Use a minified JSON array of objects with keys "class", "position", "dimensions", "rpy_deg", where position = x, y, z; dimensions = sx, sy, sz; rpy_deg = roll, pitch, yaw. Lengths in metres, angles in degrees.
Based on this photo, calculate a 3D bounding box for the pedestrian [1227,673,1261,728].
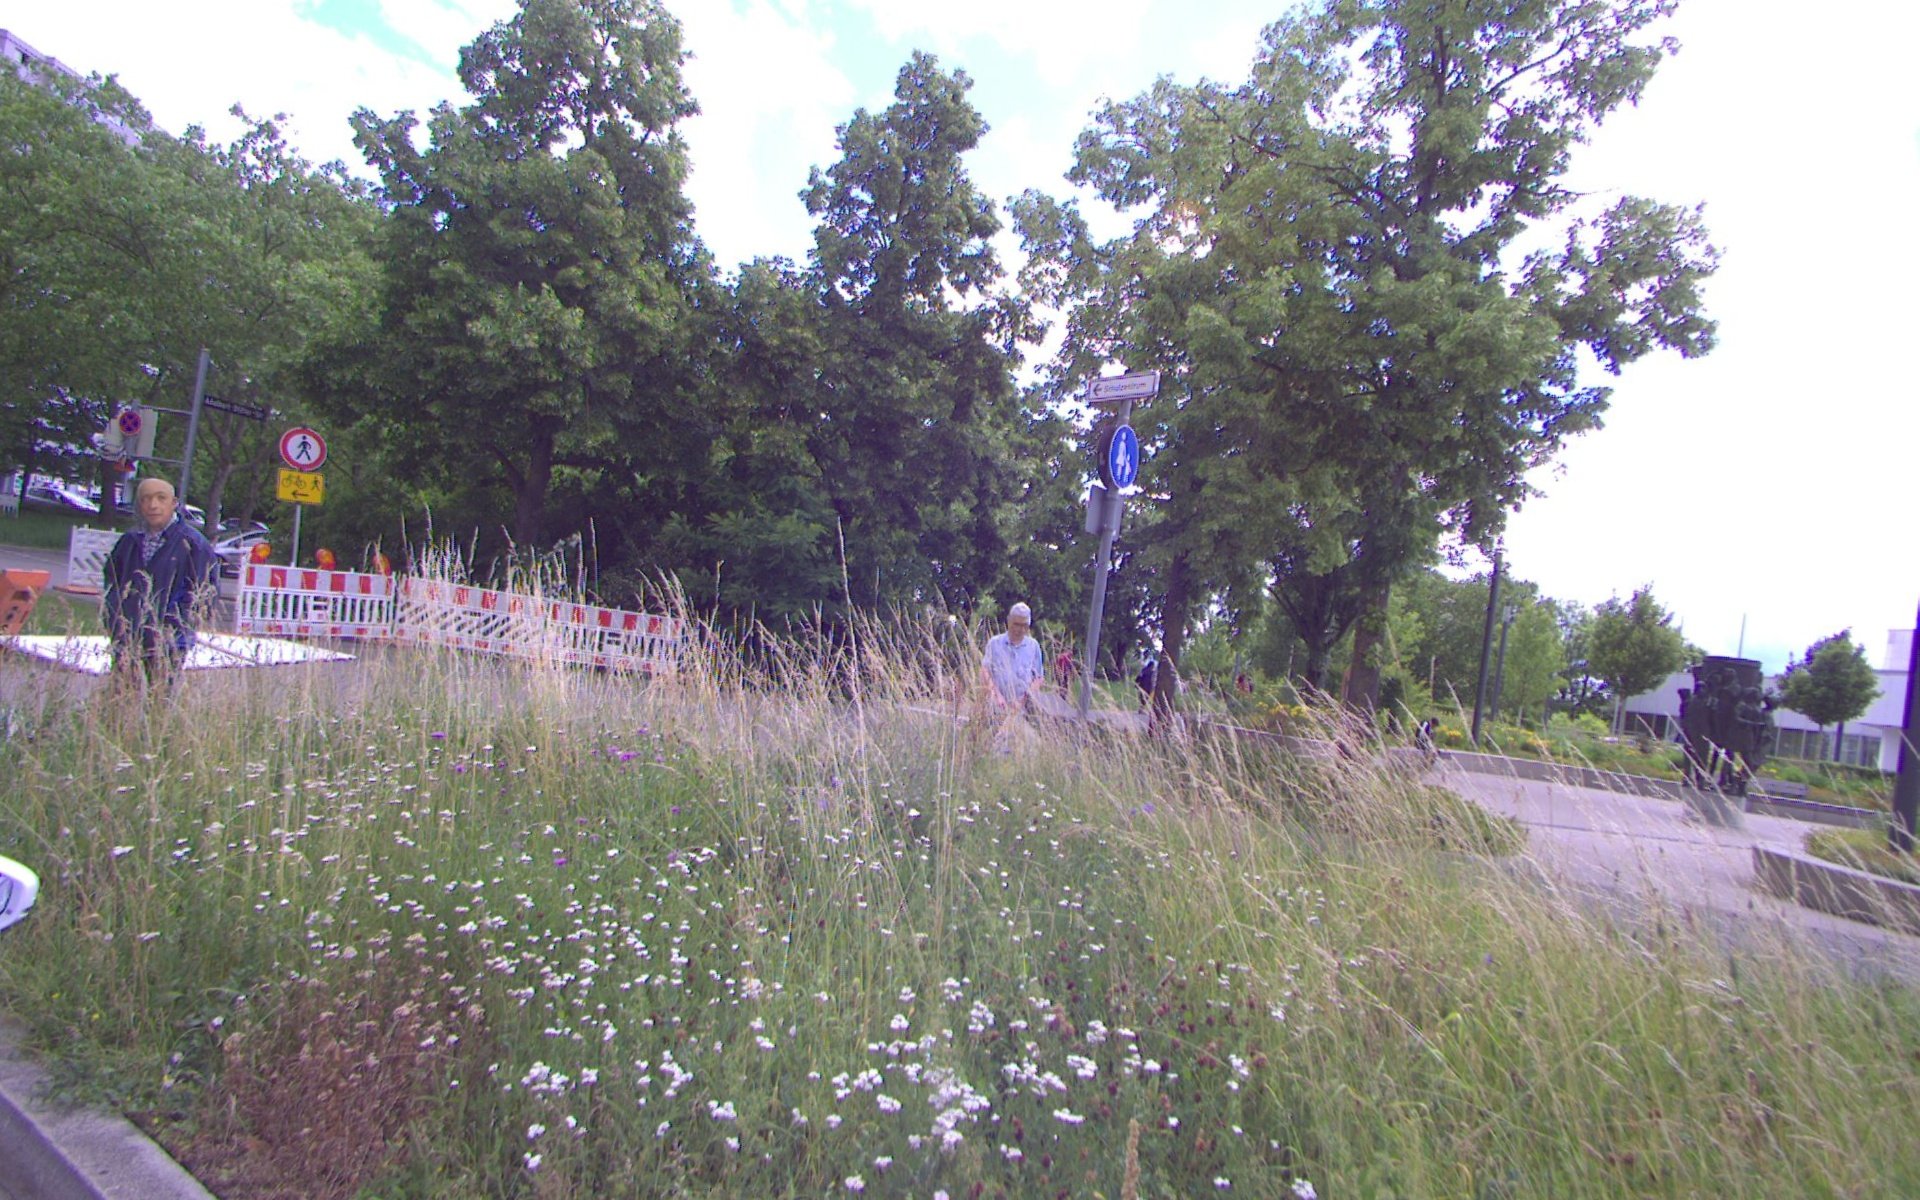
[{"class":"pedestrian","position":[8.347,2.950,29.576],"dimensions":[0.624,1.519,0.704],"rpy_deg":[7,0,29]}]

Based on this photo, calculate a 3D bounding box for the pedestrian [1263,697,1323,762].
[{"class":"pedestrian","position":[5.199,2.005,15.702],"dimensions":[0.685,0.874,0.651],"rpy_deg":[7,0,28]}]

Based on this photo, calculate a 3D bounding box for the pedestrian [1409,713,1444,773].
[{"class":"pedestrian","position":[10.757,3.285,23.181],"dimensions":[0.560,1.277,0.582],"rpy_deg":[7,-1,29]}]

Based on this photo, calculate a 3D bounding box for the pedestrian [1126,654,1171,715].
[{"class":"pedestrian","position":[5.621,2.514,29.984],"dimensions":[0.974,1.671,0.871],"rpy_deg":[7,0,21]}]

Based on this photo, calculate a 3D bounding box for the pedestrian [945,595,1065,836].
[{"class":"pedestrian","position":[0.360,0.919,8.263],"dimensions":[0.715,1.812,0.694],"rpy_deg":[8,0,1]}]

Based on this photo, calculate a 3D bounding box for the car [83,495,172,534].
[{"class":"car","position":[-43.775,-4.498,52.940],"dimensions":[3.345,1.420,1.486],"rpy_deg":[7,-2,2]}]

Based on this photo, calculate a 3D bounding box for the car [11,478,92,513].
[{"class":"car","position":[-54.444,-6.254,60.328],"dimensions":[3.345,1.420,1.486],"rpy_deg":[7,-2,1]}]

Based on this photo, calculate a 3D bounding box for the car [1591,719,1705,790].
[{"class":"car","position":[22.778,5.075,33.470],"dimensions":[1.606,1.786,3.509],"rpy_deg":[7,-2,9]}]

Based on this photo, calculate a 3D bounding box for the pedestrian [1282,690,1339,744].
[{"class":"pedestrian","position":[7.215,2.401,20.737],"dimensions":[0.703,0.959,0.747],"rpy_deg":[8,-1,-21]}]

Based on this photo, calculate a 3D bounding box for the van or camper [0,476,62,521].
[{"class":"van or camper","position":[-44.311,-4.850,46.498],"dimensions":[3.925,1.704,1.847],"rpy_deg":[8,-1,4]}]

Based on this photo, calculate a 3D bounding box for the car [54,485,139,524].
[{"class":"car","position":[-54.463,-5.996,63.461],"dimensions":[3.751,1.653,1.674],"rpy_deg":[9,-1,1]}]

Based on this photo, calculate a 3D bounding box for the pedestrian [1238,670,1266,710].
[{"class":"pedestrian","position":[13.539,4.160,46.655],"dimensions":[0.974,1.671,0.871],"rpy_deg":[7,0,21]}]

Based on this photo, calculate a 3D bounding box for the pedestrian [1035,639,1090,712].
[{"class":"pedestrian","position":[2.582,1.885,25.189],"dimensions":[0.974,1.671,0.871],"rpy_deg":[7,0,21]}]

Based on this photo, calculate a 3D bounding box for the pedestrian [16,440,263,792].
[{"class":"pedestrian","position":[-4.553,0.094,5.669],"dimensions":[0.720,1.761,0.949],"rpy_deg":[8,-1,-28]}]

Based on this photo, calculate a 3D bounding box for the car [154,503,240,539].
[{"class":"car","position":[-44.638,-4.602,58.897],"dimensions":[3.820,1.482,1.486],"rpy_deg":[7,-1,1]}]

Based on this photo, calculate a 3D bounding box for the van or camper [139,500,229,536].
[{"class":"van or camper","position":[-43.581,-4.606,56.514],"dimensions":[3.706,1.372,1.519],"rpy_deg":[8,-2,-1]}]

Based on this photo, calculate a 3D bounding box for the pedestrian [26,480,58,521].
[{"class":"pedestrian","position":[-48.624,-5.259,53.314],"dimensions":[0.838,2.025,0.807],"rpy_deg":[7,-1,25]}]

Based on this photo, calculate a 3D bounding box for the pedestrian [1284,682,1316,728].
[{"class":"pedestrian","position":[13.520,4.143,39.977],"dimensions":[0.974,1.671,0.871],"rpy_deg":[7,0,21]}]

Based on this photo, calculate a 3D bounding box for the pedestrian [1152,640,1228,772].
[{"class":"pedestrian","position":[3.223,1.472,14.054],"dimensions":[0.685,1.715,0.651],"rpy_deg":[7,0,28]}]

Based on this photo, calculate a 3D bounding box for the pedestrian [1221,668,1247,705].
[{"class":"pedestrian","position":[13.571,4.270,49.795],"dimensions":[0.974,1.671,0.871],"rpy_deg":[7,0,21]}]

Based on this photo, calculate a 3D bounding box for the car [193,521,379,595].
[{"class":"car","position":[-21.004,-1.278,31.560],"dimensions":[1.744,1.604,4.405],"rpy_deg":[6,-2,33]}]
